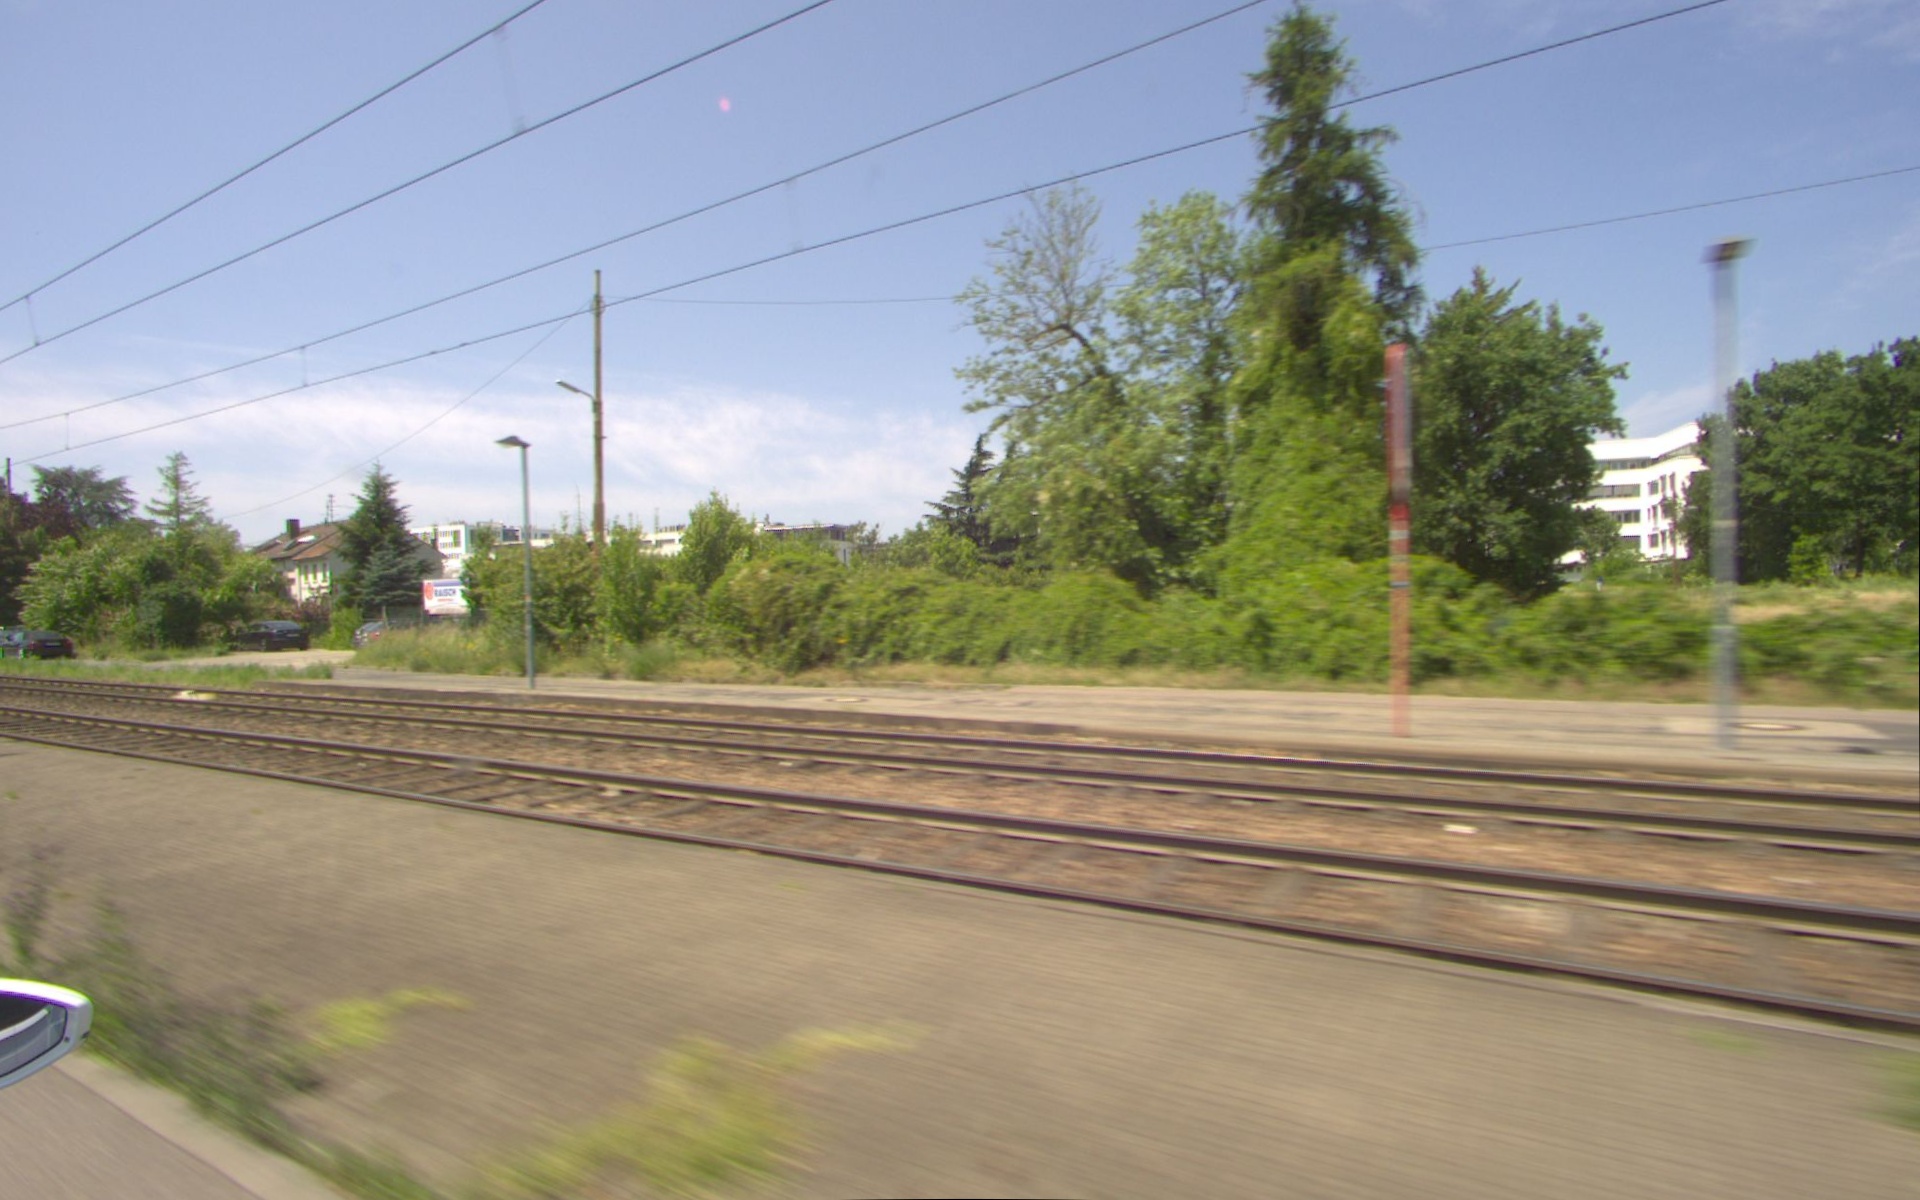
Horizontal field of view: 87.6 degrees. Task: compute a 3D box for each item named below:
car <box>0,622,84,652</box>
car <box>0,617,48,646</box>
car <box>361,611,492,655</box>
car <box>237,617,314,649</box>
[{"bbox_3d":[-43.309,1.728,47.194,4.451,1.347,1.857,-1,-1,33],"label":"car"},{"bbox_3d":[-53.362,1.763,56.338,4.492,1.581,1.931,-1,-1,33],"label":"car"},{"bbox_3d":[-20.147,1.211,37.932,1.876,1.537,3.971,-1,-1,39],"label":"car"},{"bbox_3d":[-32.546,1.562,47.602,3.686,1.437,1.717,-1,-1,33],"label":"car"}]
